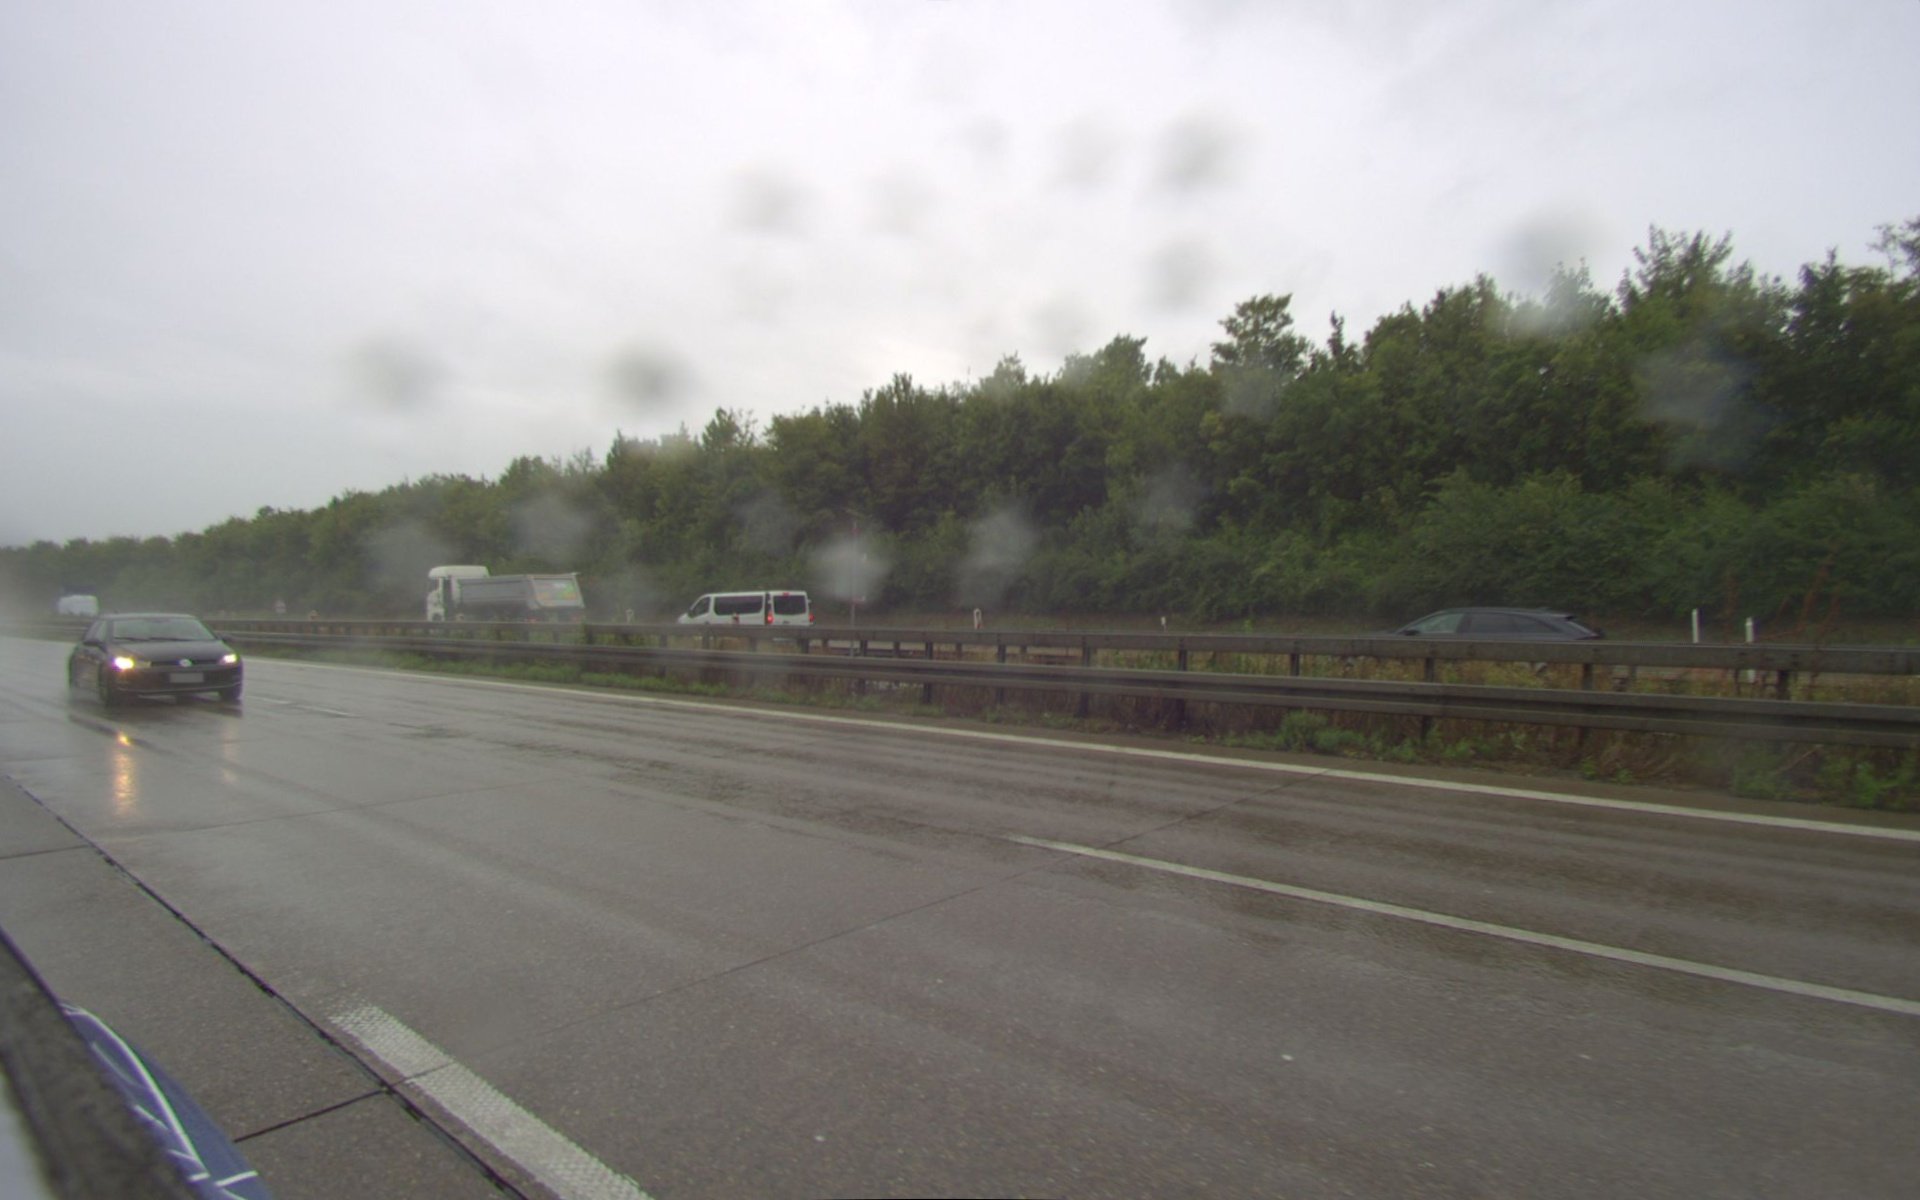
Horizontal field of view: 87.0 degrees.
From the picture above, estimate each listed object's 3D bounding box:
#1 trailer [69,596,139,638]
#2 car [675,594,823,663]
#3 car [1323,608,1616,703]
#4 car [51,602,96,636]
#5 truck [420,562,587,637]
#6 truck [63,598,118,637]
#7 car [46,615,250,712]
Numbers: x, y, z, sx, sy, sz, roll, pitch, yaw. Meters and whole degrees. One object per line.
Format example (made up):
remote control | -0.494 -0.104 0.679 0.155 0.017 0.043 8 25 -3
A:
trailer | -84.350 1.716 99.621 12.859 3.886 3.105 -1 -1 40
car | -6.908 0.875 32.793 5.195 2.029 1.957 -1 0 41
car | 9.232 0.924 18.546 4.471 1.495 1.896 -1 0 41
car | -80.024 1.716 91.295 6.528 2.922 2.067 -1 0 40
truck | -22.612 0.056 49.626 11.506 3.340 2.746 -1 0 40
truck | -88.869 1.801 103.417 6.879 3.886 3.105 -1 -1 40
car | -13.499 0.973 16.741 4.316 1.398 1.723 -1 -2 39
